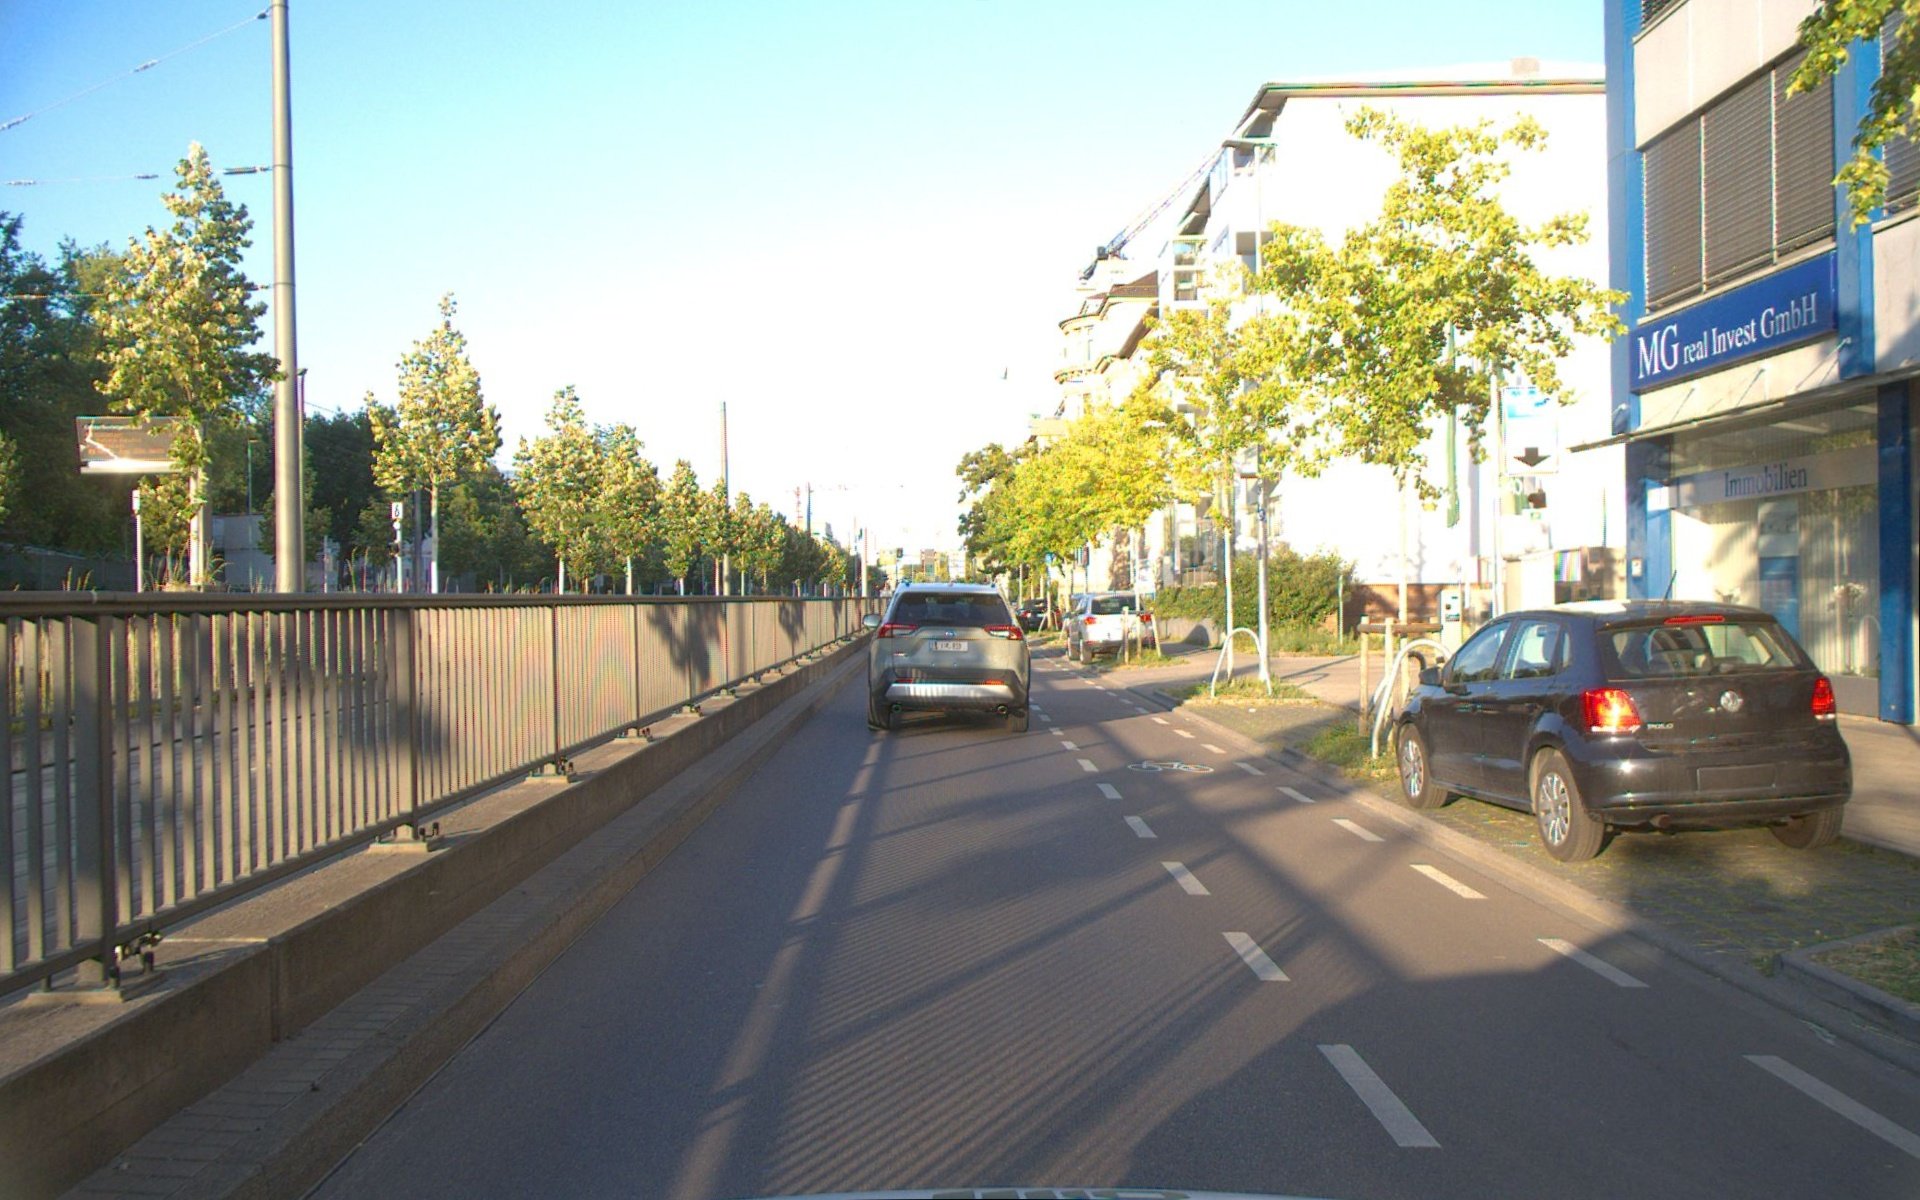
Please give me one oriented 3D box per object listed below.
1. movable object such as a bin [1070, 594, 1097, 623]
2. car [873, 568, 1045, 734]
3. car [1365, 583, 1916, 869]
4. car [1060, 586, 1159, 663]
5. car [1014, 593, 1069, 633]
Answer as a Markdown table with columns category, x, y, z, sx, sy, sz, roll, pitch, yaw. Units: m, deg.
| category | x | y | z | sx | sy | sz | roll | pitch | yaw |
| --- | --- | --- | --- | --- | --- | --- | --- | --- | --- |
| movable object such as a bin | 6.378 | 0.434 | 85.439 | 1.235 | 1.487 | 1.123 | 0 | 0 | -4 |
| car | -0.107 | 0.556 | 19.827 | 1.821 | 1.744 | 4.190 | 1 | 0 | -3 |
| car | 4.198 | 0.681 | 11.015 | 1.783 | 1.480 | 4.126 | -2 | 0 | -3 |
| car | 3.558 | 0.557 | 40.098 | 1.817 | 1.736 | 4.252 | -1 | 0 | -3 |
| car | 3.374 | 0.535 | 69.441 | 1.757 | 1.496 | 4.442 | -4 | 0 | -4 |
